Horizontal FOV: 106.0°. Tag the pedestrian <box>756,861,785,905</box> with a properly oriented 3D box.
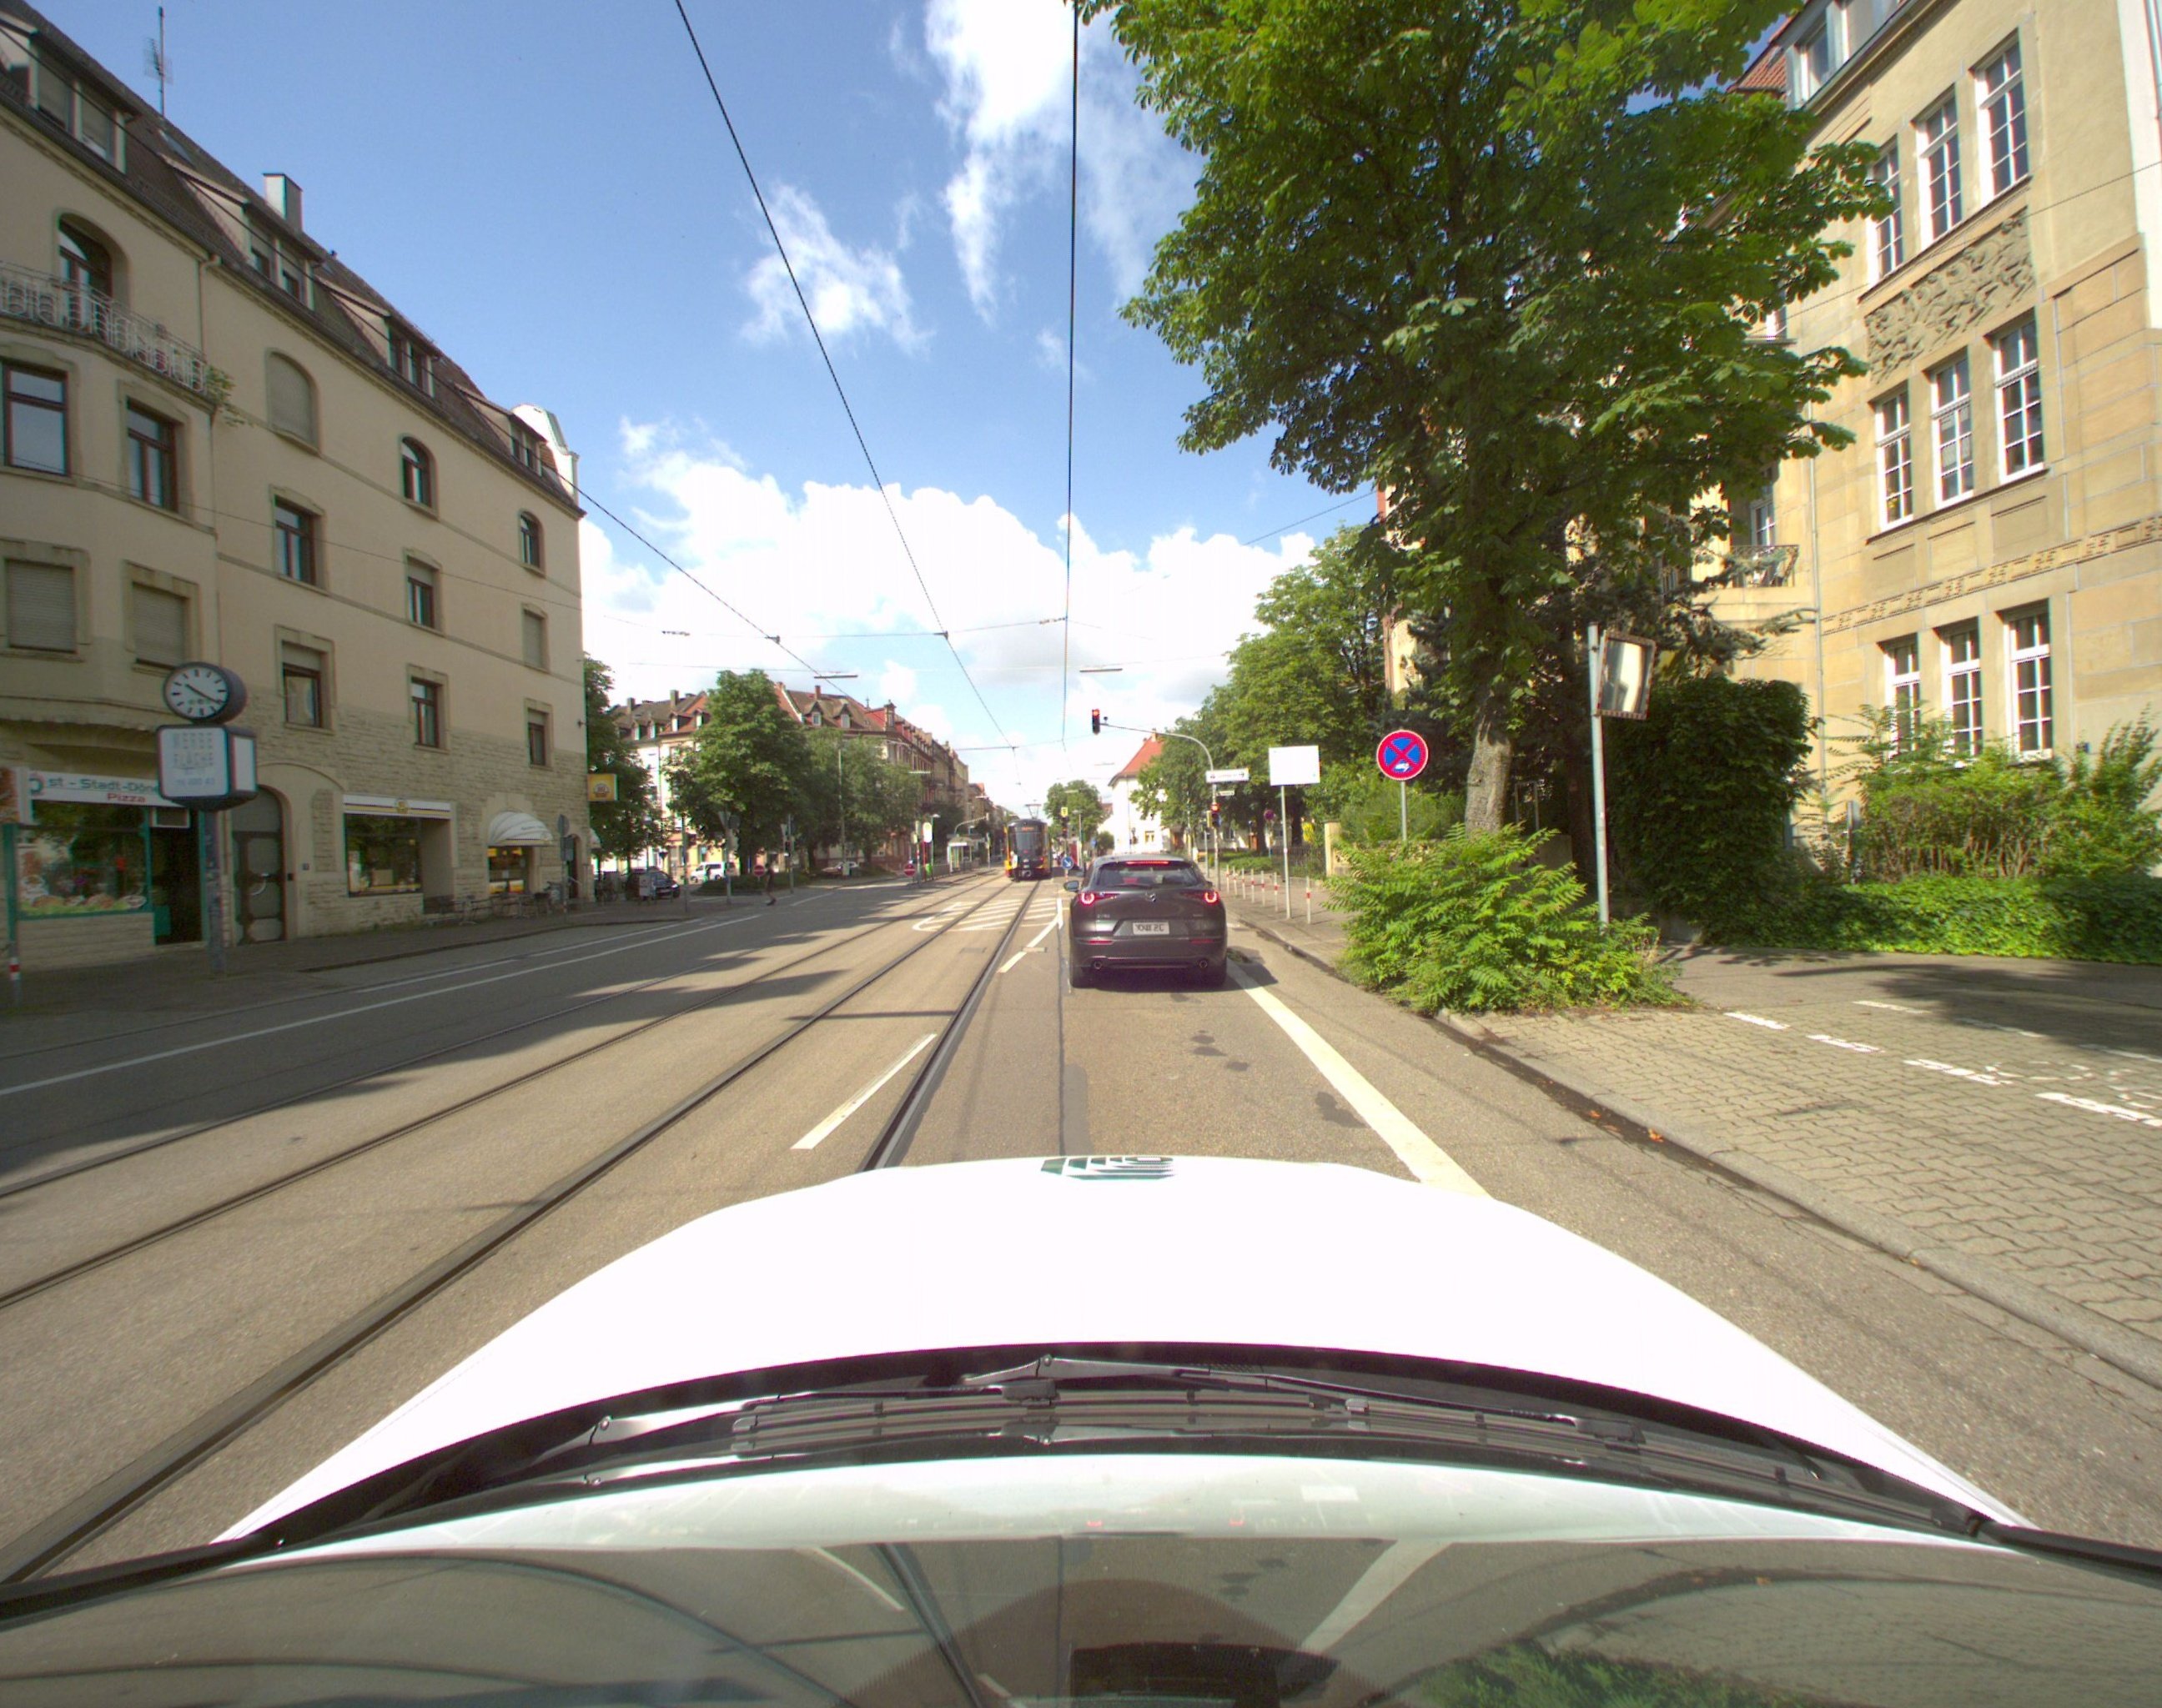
[{"bbox_3d":[-12.363,1.160,32.404,0.746,1.684,0.702,-2,0,11],"label":"pedestrian"}]

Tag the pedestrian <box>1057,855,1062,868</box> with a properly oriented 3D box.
[{"bbox_3d":[-1.791,0.669,68.358,0.378,1.071,0.474,-2,0,-1],"label":"pedestrian"}]

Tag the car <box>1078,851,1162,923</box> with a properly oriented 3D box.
[{"bbox_3d":[0.886,0.698,19.262,1.772,1.499,4.001,0,0,1],"label":"car"}]

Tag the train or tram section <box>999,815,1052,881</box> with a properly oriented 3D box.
[{"bbox_3d":[-3.299,-0.454,51.663,2.746,3.490,14.397,-2,1,-2],"label":"train or tram section"}]

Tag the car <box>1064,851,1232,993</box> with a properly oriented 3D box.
[{"bbox_3d":[0.770,0.710,10.651,1.772,1.499,4.001,0,0,1],"label":"car"}]

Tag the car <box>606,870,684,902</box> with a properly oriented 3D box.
[{"bbox_3d":[-23.030,1.677,42.966,4.016,1.518,1.773,-2,0,31],"label":"car"}]

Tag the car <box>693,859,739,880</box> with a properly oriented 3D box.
[{"bbox_3d":[-36.540,1.579,81.544,3.950,1.903,2.012,-2,0,26],"label":"car"}]

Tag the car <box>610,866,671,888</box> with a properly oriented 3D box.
[{"bbox_3d":[-37.381,1.933,69.194,3.971,1.596,2.001,-2,0,2],"label":"car"}]

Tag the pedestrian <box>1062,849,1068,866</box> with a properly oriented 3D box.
[{"bbox_3d":[-1.315,0.321,68.463,0.449,1.434,0.474,-2,0,-3],"label":"pedestrian"}]

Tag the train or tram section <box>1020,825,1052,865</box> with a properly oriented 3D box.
[{"bbox_3d":[-4.301,-0.972,80.383,2.746,3.490,14.397,-2,1,-2],"label":"train or tram section"}]

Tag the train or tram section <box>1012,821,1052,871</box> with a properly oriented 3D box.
[{"bbox_3d":[-3.803,-0.715,66.008,2.746,3.490,14.397,-2,1,-2],"label":"train or tram section"}]

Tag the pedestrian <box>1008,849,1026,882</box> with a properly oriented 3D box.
[{"bbox_3d":[-3.382,0.620,43.263,0.712,1.705,0.826,-2,0,9],"label":"pedestrian"}]

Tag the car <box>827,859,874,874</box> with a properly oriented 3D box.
[{"bbox_3d":[-22.690,1.217,80.216,4.019,1.360,1.659,-2,0,-37],"label":"car"}]
